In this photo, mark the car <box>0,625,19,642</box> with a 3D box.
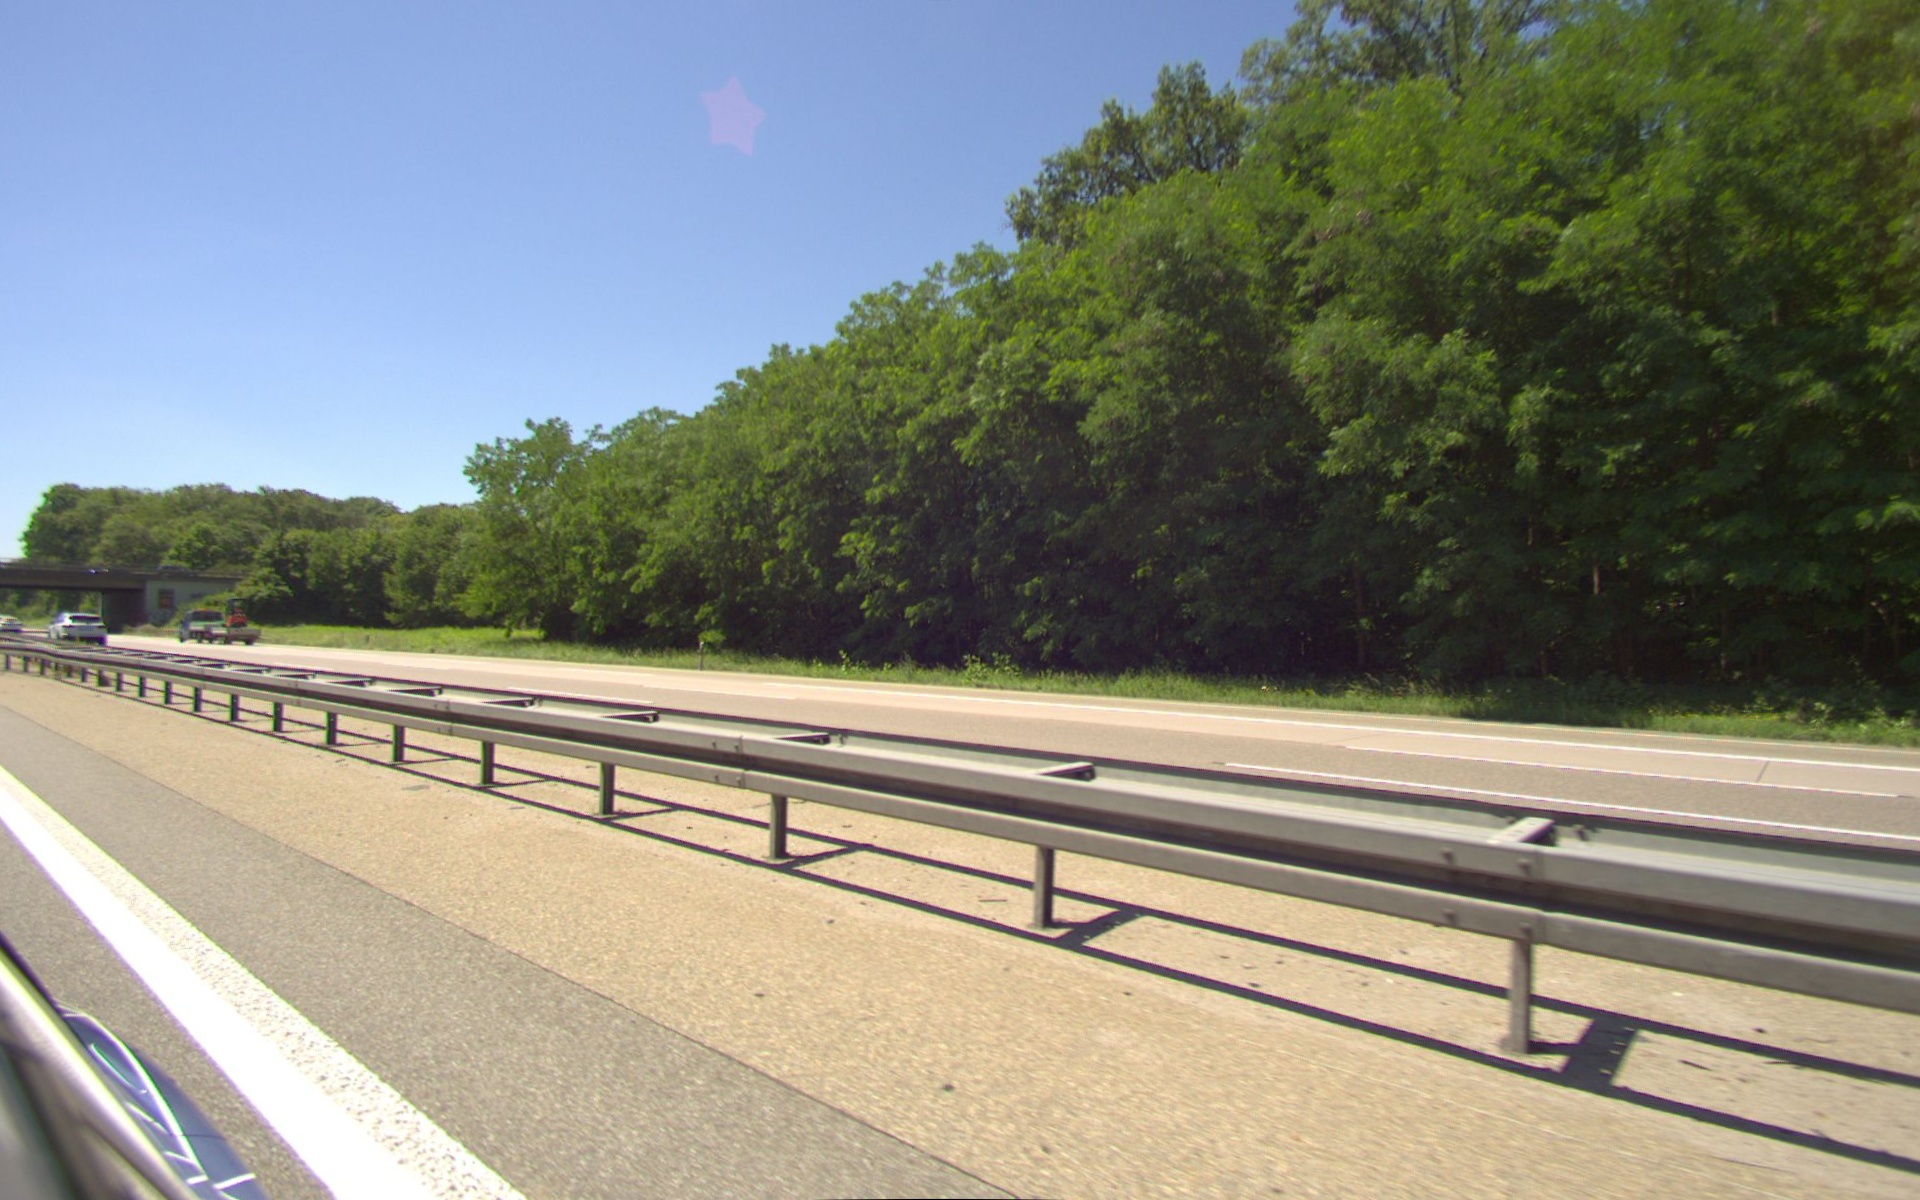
[{"bbox_3d":[-90.245,3.139,95.537,4.202,1.556,1.671,-1,0,41],"label":"car"}]

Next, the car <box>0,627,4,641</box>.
[{"bbox_3d":[-126.537,4.430,132.194,5.081,1.776,1.723,-1,-3,39],"label":"car"}]

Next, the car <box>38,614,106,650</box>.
[{"bbox_3d":[-45.984,1.673,52.380,5.262,1.719,1.973,-2,-1,41],"label":"car"}]

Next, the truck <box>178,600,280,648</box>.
[{"bbox_3d":[-49.736,1.604,68.609,12.849,3.013,2.724,-1,-2,41],"label":"truck"}]
